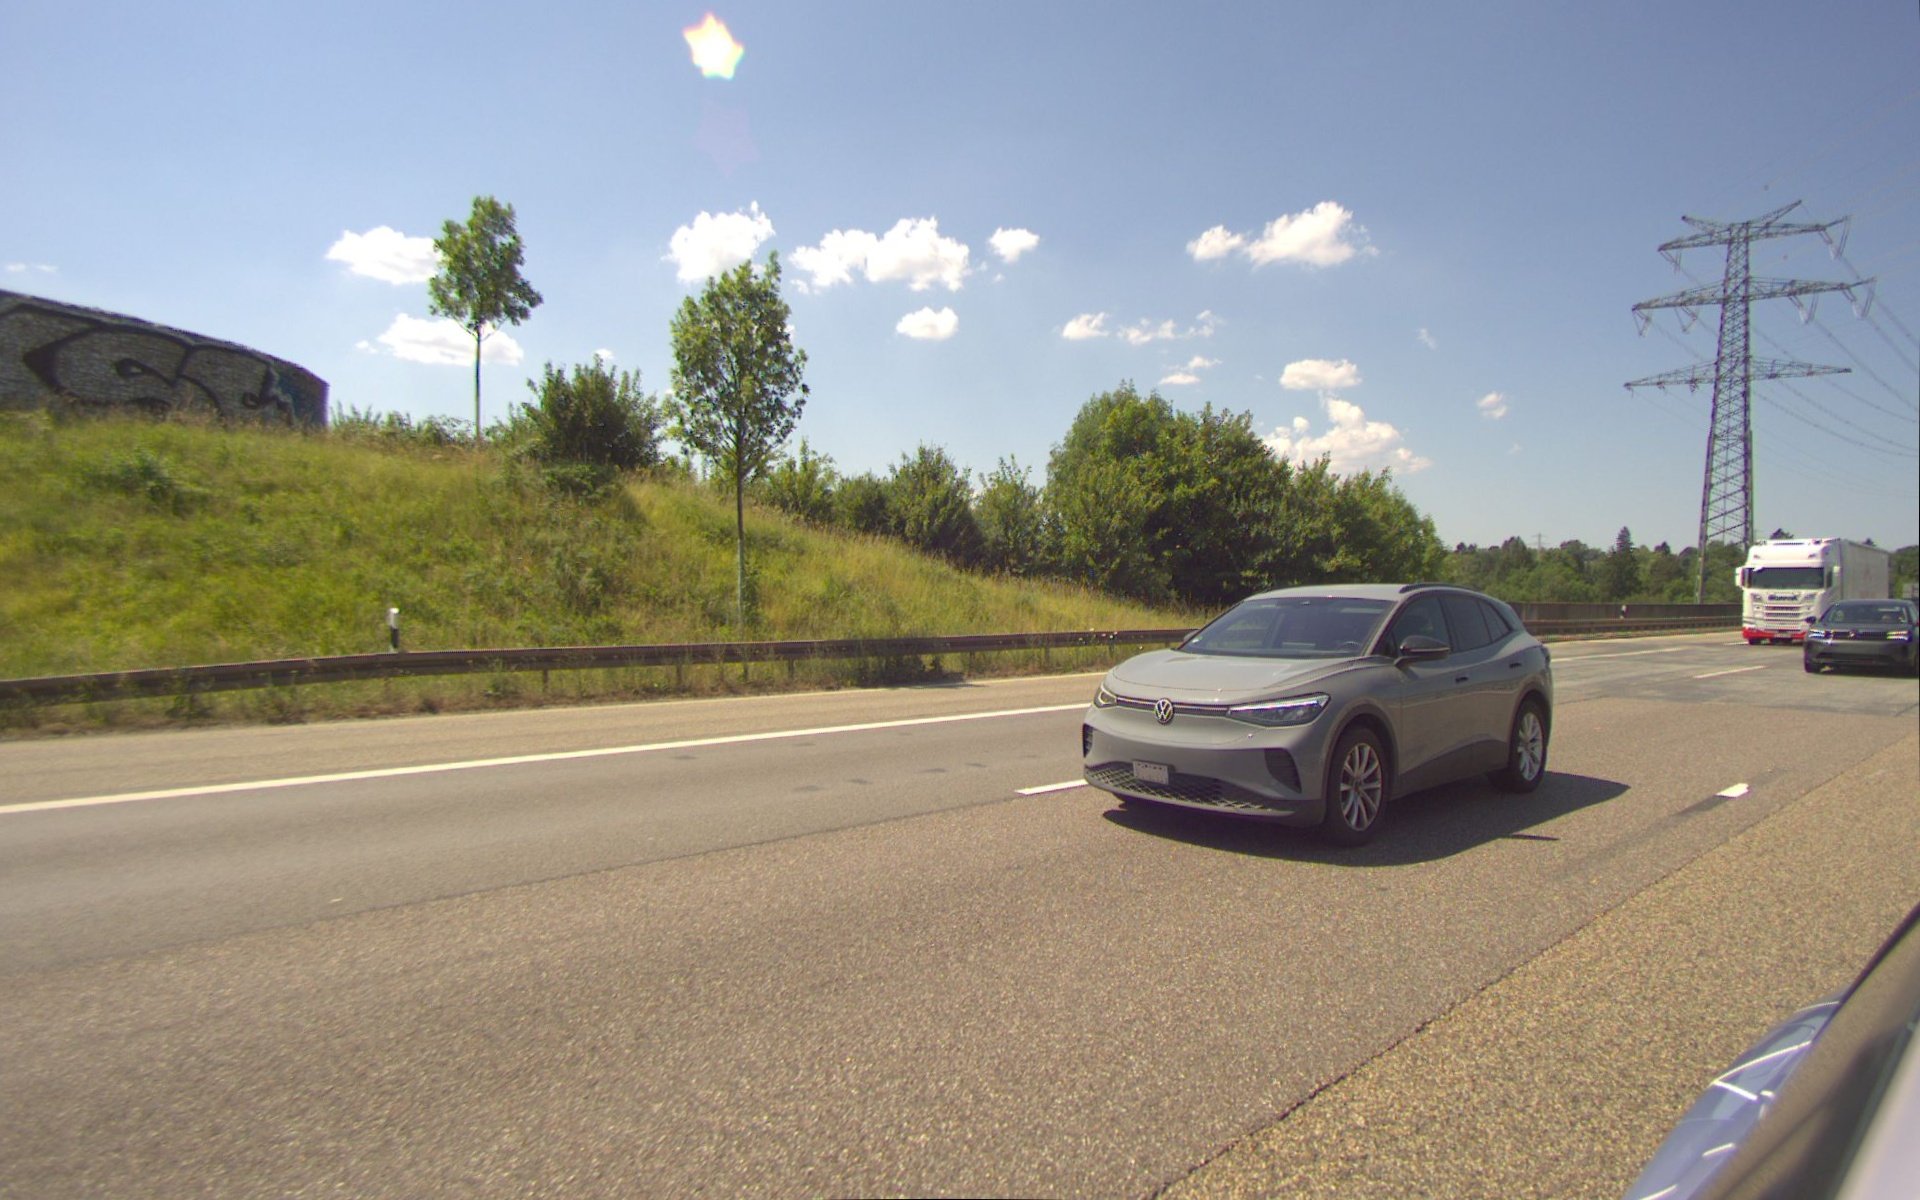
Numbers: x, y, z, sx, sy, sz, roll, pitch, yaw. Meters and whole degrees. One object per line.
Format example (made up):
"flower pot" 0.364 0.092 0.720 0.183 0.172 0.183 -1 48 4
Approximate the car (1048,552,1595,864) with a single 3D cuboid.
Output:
"car" 2.905 0.562 7.566 4.505 1.657 1.871 0 0 -41

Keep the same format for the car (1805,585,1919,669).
"car" 20.055 0.531 21.989 3.976 1.667 1.954 0 0 -41

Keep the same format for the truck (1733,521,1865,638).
"truck" 30.474 -0.705 36.752 3.780 3.957 3.074 0 0 -41

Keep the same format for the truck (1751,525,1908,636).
"truck" 35.665 -0.728 41.251 12.284 3.957 3.074 0 0 -41
